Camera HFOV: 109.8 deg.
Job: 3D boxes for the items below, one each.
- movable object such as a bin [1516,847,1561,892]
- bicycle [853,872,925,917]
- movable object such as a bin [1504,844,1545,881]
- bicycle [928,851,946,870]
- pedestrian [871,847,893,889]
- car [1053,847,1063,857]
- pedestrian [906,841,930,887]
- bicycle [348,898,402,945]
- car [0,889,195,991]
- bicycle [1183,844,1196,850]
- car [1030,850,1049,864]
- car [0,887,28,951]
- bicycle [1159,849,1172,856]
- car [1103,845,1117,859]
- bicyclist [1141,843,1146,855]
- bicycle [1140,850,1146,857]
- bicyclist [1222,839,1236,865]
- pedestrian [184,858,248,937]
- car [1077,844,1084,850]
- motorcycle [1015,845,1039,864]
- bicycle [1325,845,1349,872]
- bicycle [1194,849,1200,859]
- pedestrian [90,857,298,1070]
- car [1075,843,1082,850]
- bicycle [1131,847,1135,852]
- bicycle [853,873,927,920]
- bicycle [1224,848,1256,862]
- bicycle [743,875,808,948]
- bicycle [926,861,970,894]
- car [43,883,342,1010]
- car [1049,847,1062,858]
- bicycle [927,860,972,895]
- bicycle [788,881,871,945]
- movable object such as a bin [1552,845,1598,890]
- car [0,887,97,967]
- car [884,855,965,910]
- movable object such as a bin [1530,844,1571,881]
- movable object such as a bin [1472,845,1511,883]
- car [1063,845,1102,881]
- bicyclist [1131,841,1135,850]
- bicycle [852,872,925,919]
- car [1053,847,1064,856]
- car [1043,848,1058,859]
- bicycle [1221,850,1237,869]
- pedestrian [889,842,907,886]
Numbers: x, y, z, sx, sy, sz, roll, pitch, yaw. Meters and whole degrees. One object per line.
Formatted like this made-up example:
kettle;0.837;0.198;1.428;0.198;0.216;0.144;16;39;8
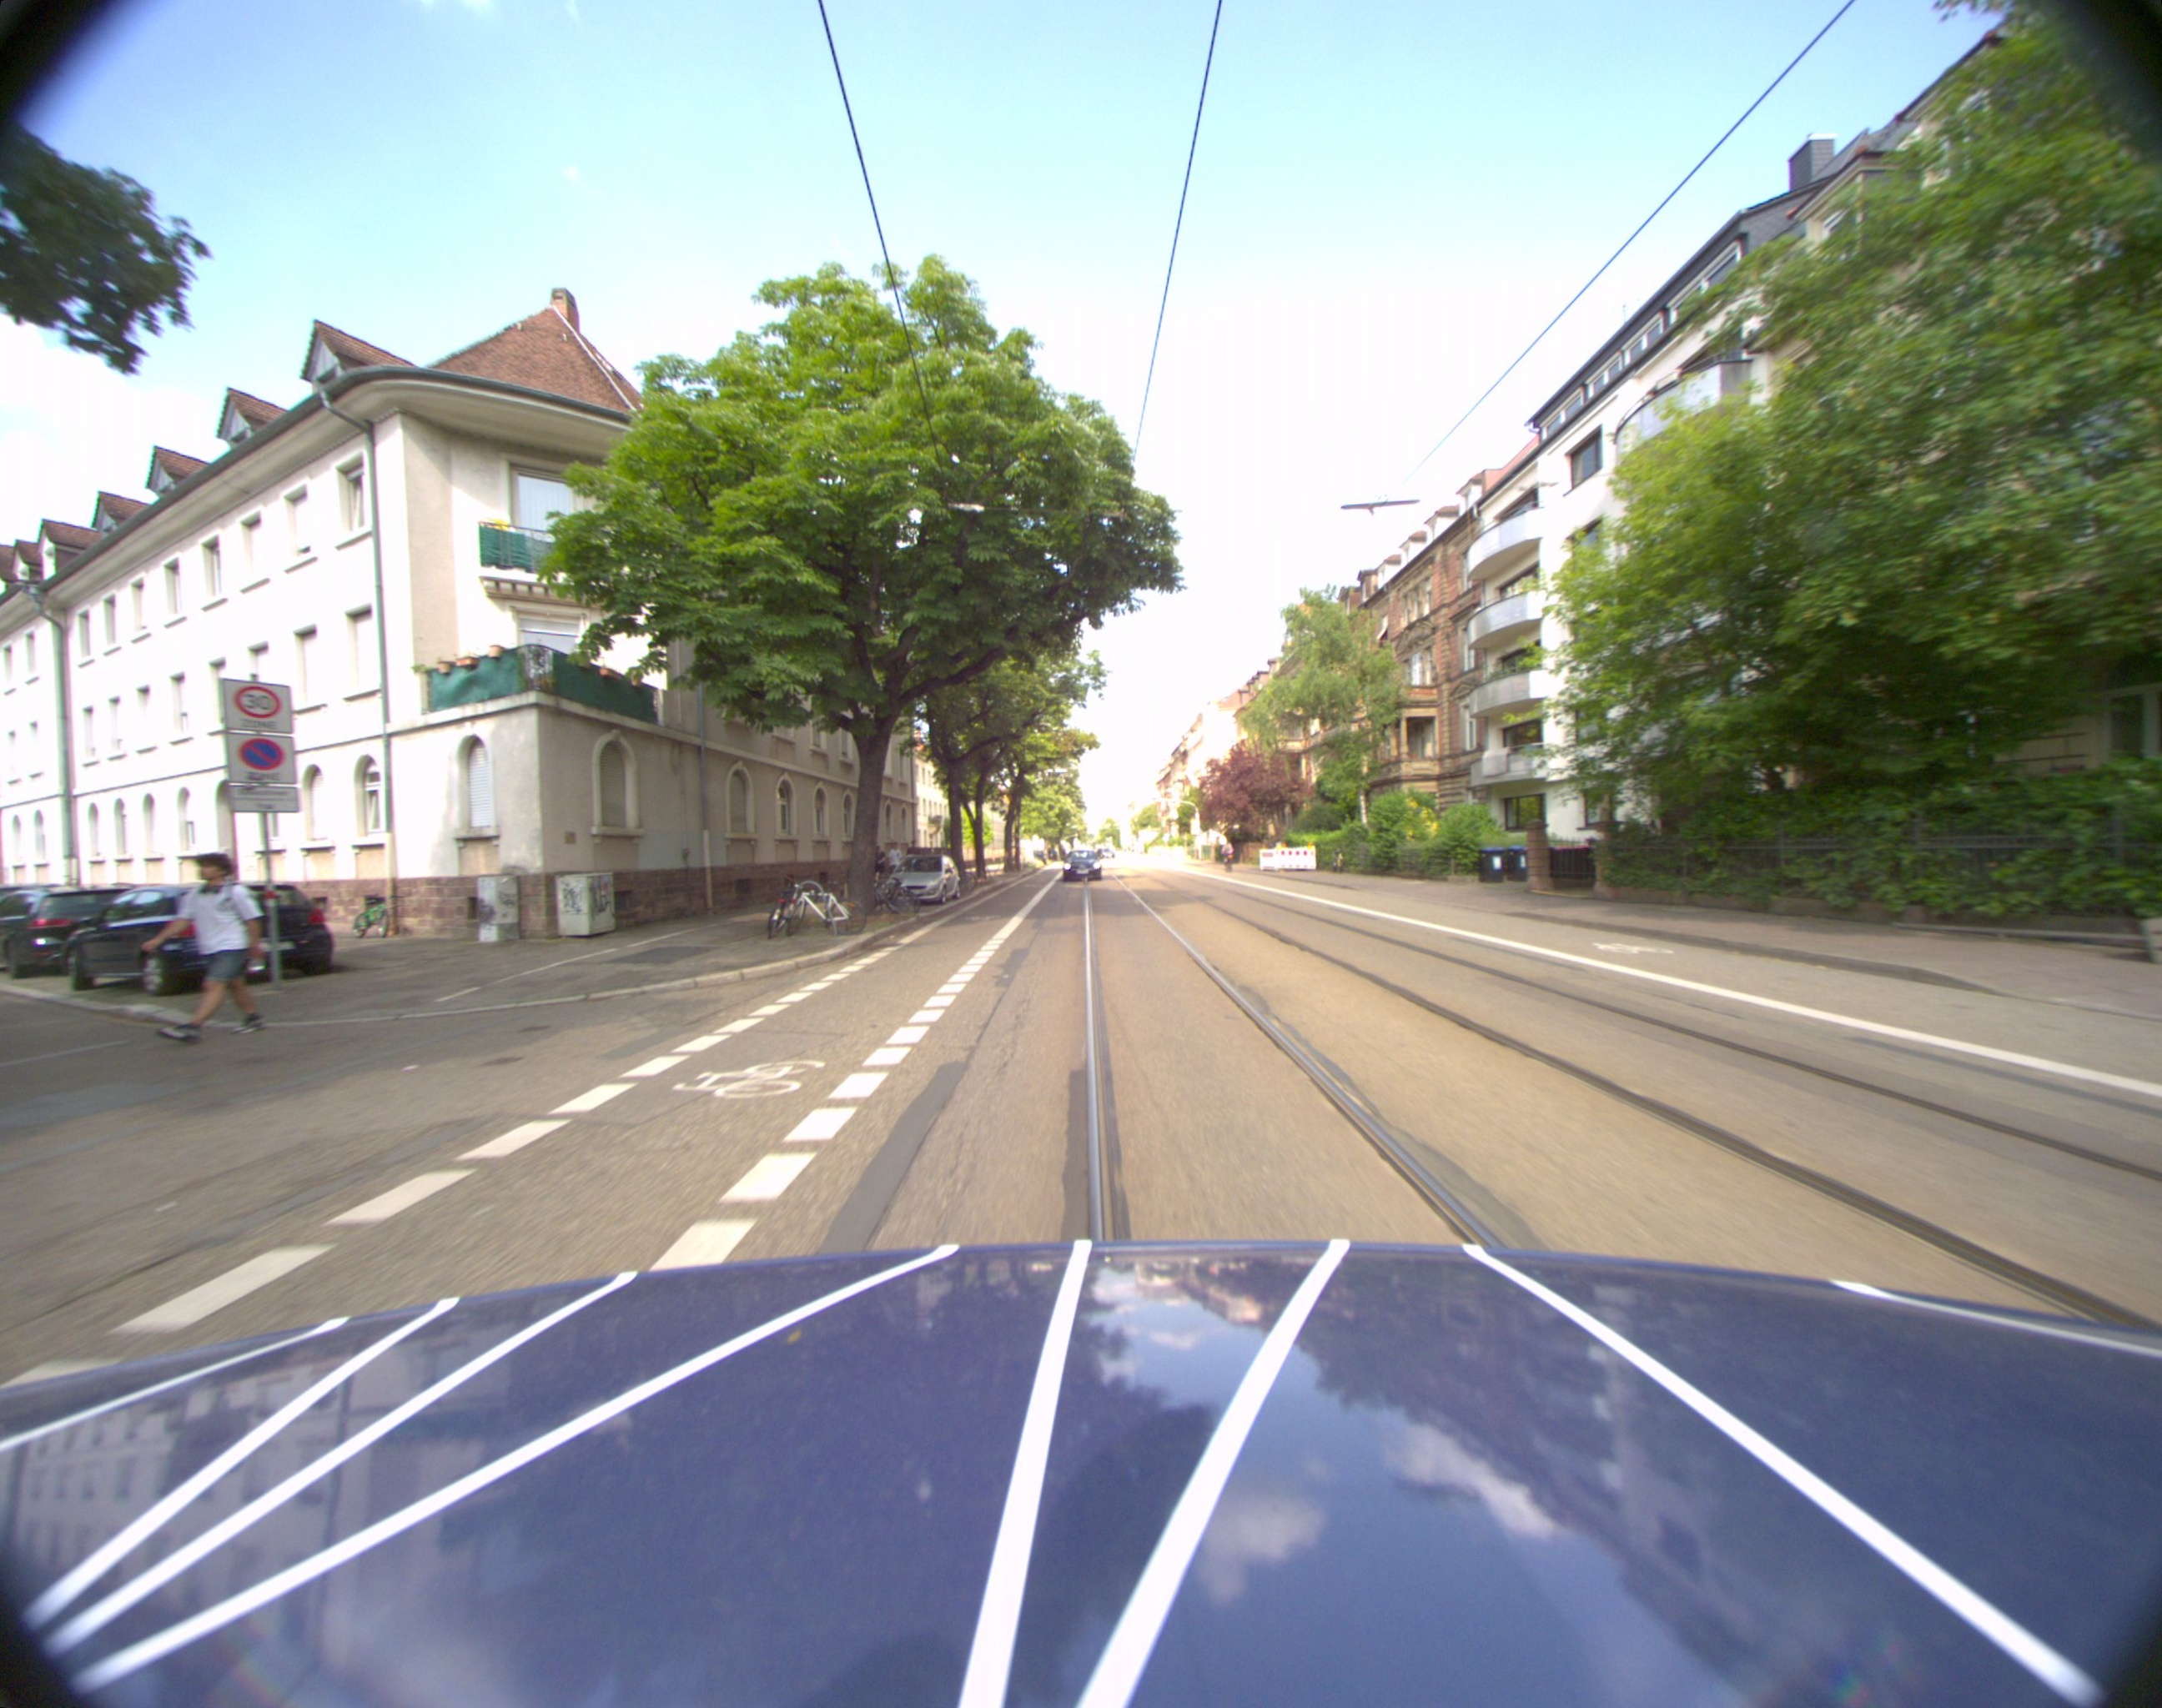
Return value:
movable object such as a bin;11.673;0.391;19.395;0.669;1.101;0.733;-2;1;-3
bicycle;-4.764;1.009;18.884;1.650;1.064;0.348;-2;1;4
movable object such as a bin;13.336;0.248;22.864;0.774;1.101;0.733;-2;1;0
bicycle;-9.902;0.454;52.450;0.654;1.184;2.598;-2;1;1
pedestrian;-7.918;0.533;30.253;0.582;1.630;0.976;-2;1;0
car;-3.892;-0.335;129.375;1.693;1.537;3.459;-2;1;0
pedestrian;-6.879;0.423;32.083;0.755;1.878;0.886;-2;1;0
bicycle;-13.429;1.267;14.448;1.204;0.839;0.347;-1;1;28
car;-17.609;1.387;13.318;4.245;1.443;1.734;-1;1;27
bicycle;15.424;-0.989;107.631;1.753;0.936;0.483;0;1;-1
car;-4.279;0.269;78.201;1.693;1.380;3.999;-2;1;0
car;-27.806;1.628;18.623;3.921;1.503;1.734;-1;1;27
bicycle;11.923;-0.246;107.215;1.750;0.936;0.484;1;2;24
car;3.976;-0.311;103.153;1.715;1.718;3.735;-2;1;0
bicyclist;8.296;-0.661;101.348;0.614;1.490;0.743;0;1;12
bicycle;8.291;-0.090;101.317;0.607;0.936;1.756;1;1;12
bicyclist;8.035;-0.120;41.376;0.566;1.417;0.942;-2;1;2
pedestrian;-21.061;1.040;18.508;0.729;1.823;0.829;-1;1;31
car;-0.217;-1.804;187.886;1.693;1.380;3.999;-2;1;0
motorcycle;-4.489;0.055;63.191;0.812;1.485;2.065;-2;1;-43
bicycle;11.198;0.187;33.323;0.413;1.131;1.819;-2;1;0
bicycle;11.358;-0.016;74.316;0.400;0.935;1.473;1;-2;2
pedestrian;-8.208;0.958;7.093;0.619;1.823;1.030;-2;1;4
car;-0.771;-2.066;204.937;1.694;1.831;5.028;-2;1;-2
bicycle;8.562;-0.746;124.932;0.483;0.936;1.753;0;1;-3
bicycle;-4.571;1.004;18.168;1.650;1.064;0.348;-2;1;4
bicycle;11.169;0.050;53.461;2.133;0.931;0.586;-2;1;0
bicycle;-5.472;0.992;13.722;0.586;1.152;1.835;-2;1;-7
bicycle;-4.879;0.873;27.915;1.490;1.146;0.518;-2;1;7
car;-12.605;1.204;10.796;3.566;1.443;1.734;-1;1;23
car;-3.638;-0.191;107.850;1.693;1.537;3.617;-2;1;0
bicycle;-4.718;0.836;27.301;1.490;1.214;0.518;-2;2;7
bicycle;-4.491;1.042;13.607;1.271;1.060;0.478;-2;1;0
movable object such as a bin;12.561;0.332;19.333;0.669;1.101;0.733;-2;1;-3
car;-22.855;1.505;16.089;3.921;1.503;1.734;-1;1;27
car;-4.641;0.807;23.044;1.589;1.436;3.897;-2;1;0
movable object such as a bin;14.143;0.251;22.893;0.774;1.101;0.733;-2;1;0
movable object such as a bin;12.395;0.300;22.945;0.774;1.101;0.733;-2;1;0
car;0.106;0.387;36.057;1.693;1.568;4.156;-2;1;1
bicyclist;8.570;-1.404;124.837;0.477;1.490;0.742;0;1;-3
bicycle;-4.690;1.009;18.534;1.650;1.064;0.348;-2;1;4
car;-4.011;-0.478;135.927;1.693;1.537;3.459;-2;1;0
car;-3.918;-0.084;98.113;1.693;1.380;3.999;-2;1;0
bicycle;8.048;0.296;41.360;0.570;0.984;1.918;-2;1;3
pedestrian;-7.683;0.417;31.857;0.506;1.842;0.687;-2;1;0
